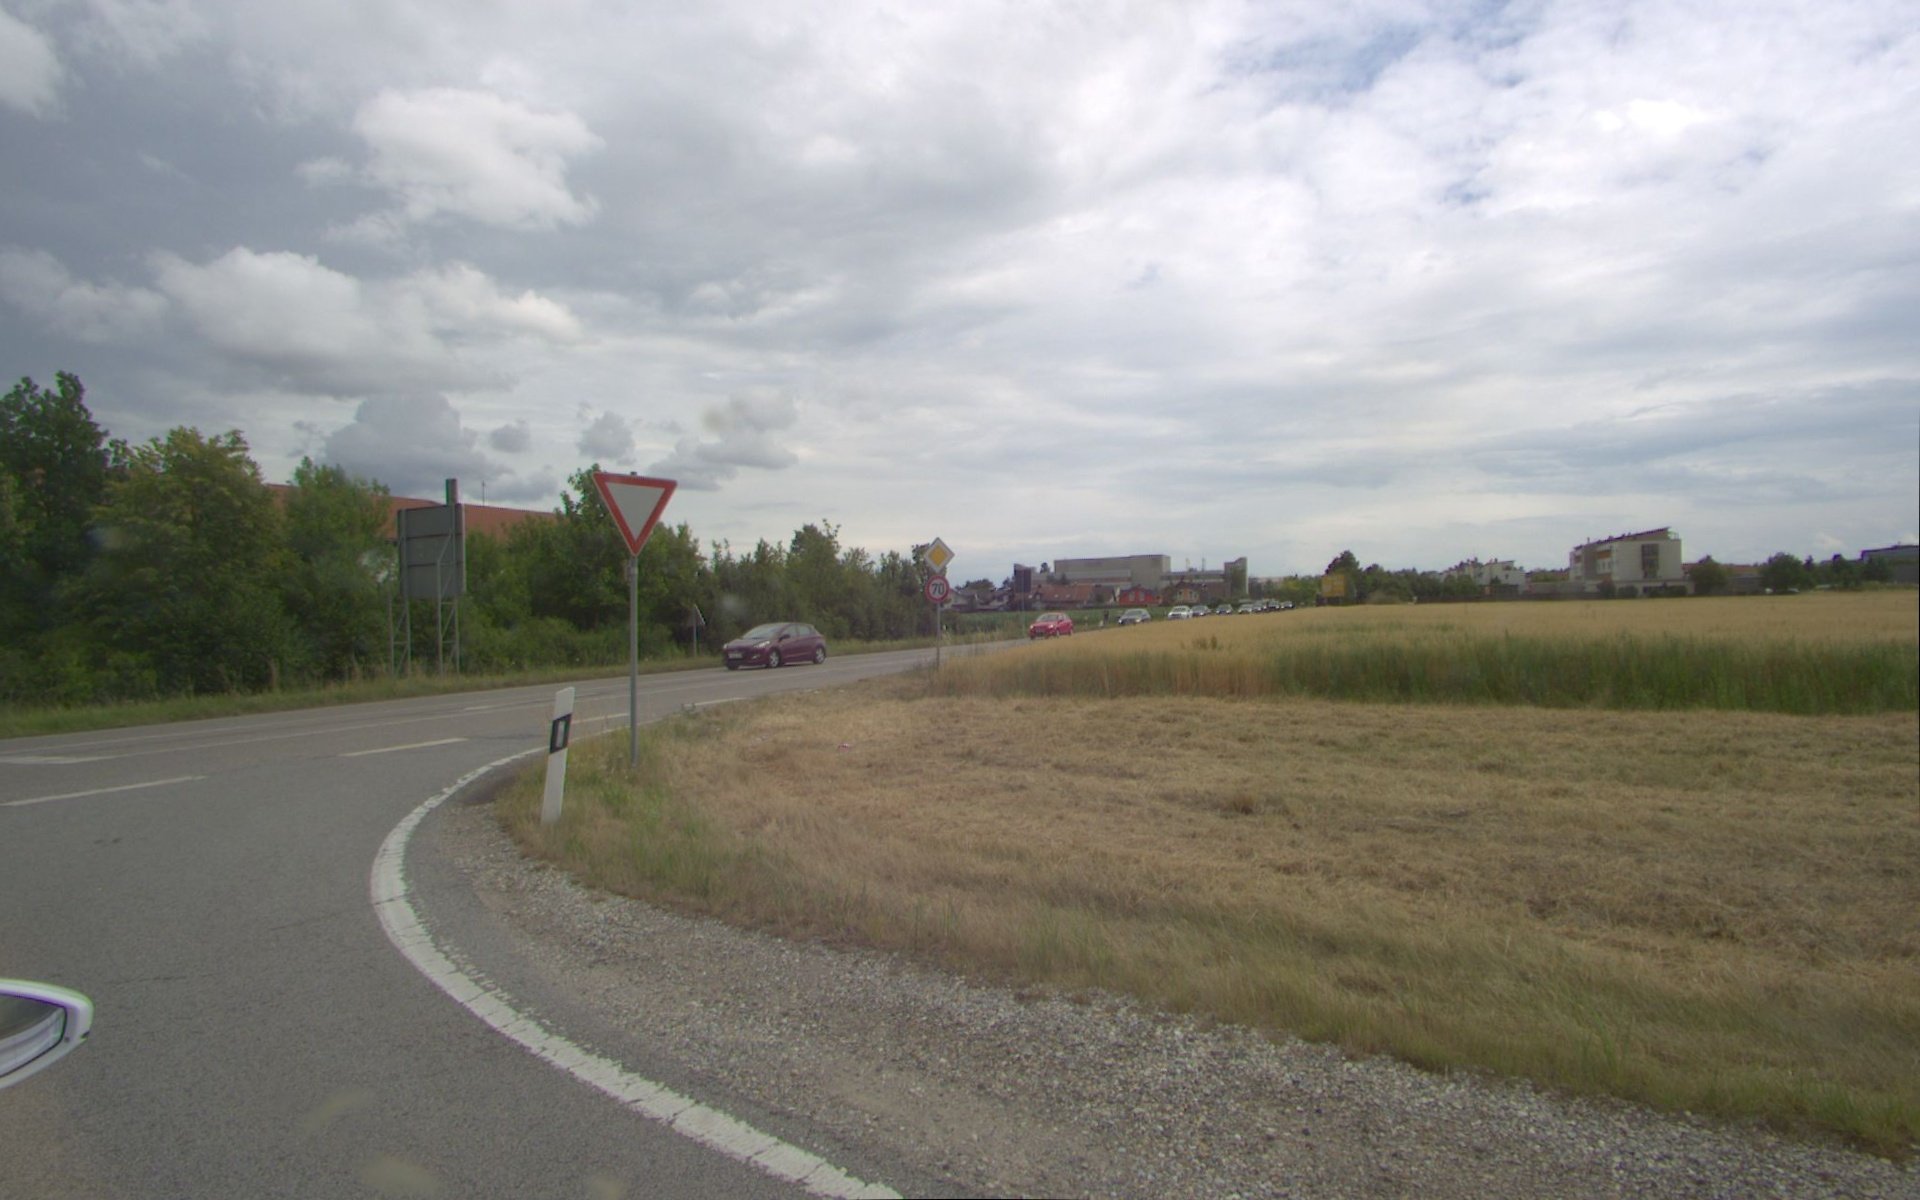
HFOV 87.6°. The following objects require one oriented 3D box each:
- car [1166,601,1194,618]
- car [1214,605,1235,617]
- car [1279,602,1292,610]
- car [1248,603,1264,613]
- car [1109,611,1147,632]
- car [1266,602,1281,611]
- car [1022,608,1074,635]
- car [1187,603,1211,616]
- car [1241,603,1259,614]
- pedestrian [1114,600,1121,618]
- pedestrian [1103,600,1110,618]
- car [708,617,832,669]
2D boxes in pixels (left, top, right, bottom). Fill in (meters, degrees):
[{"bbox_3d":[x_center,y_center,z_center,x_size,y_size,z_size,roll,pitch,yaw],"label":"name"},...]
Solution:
[{"bbox_3d":[20.174,0.864,91.641,1.825,1.486,3.988,-1,0,23],"label":"car"},{"bbox_3d":[30.387,1.247,114.867,1.825,1.287,3.519,-1,0,23],"label":"car"},{"bbox_3d":[56.950,1.024,174.976,1.825,1.287,3.519,-1,0,23],"label":"car"},{"bbox_3d":[41.569,1.067,140.552,1.825,1.287,3.519,-1,0,23],"label":"car"},{"bbox_3d":[12.477,1.582,74.261,1.826,1.486,3.987,-1,0,24],"label":"car"},{"bbox_3d":[49.347,1.060,157.694,1.825,1.287,3.519,-1,0,23],"label":"car"},{"bbox_3d":[5.210,1.236,59.024,1.826,1.486,3.987,-1,0,24],"label":"car"},{"bbox_3d":[24.547,0.980,102.636,1.825,1.287,3.519,-1,0,23],"label":"car"},{"bbox_3d":[37.955,1.135,131.175,1.825,1.287,3.519,-1,0,23],"label":"car"},{"bbox_3d":[14.894,0.840,94.620,0.521,1.705,0.626,0,1,19],"label":"pedestrian"},{"bbox_3d":[13.883,0.836,94.994,0.521,1.705,0.626,0,1,19],"label":"pedestrian"},{"bbox_3d":[-6.211,1.381,33.149,1.968,1.483,4.147,-2,0,25],"label":"car"}]
